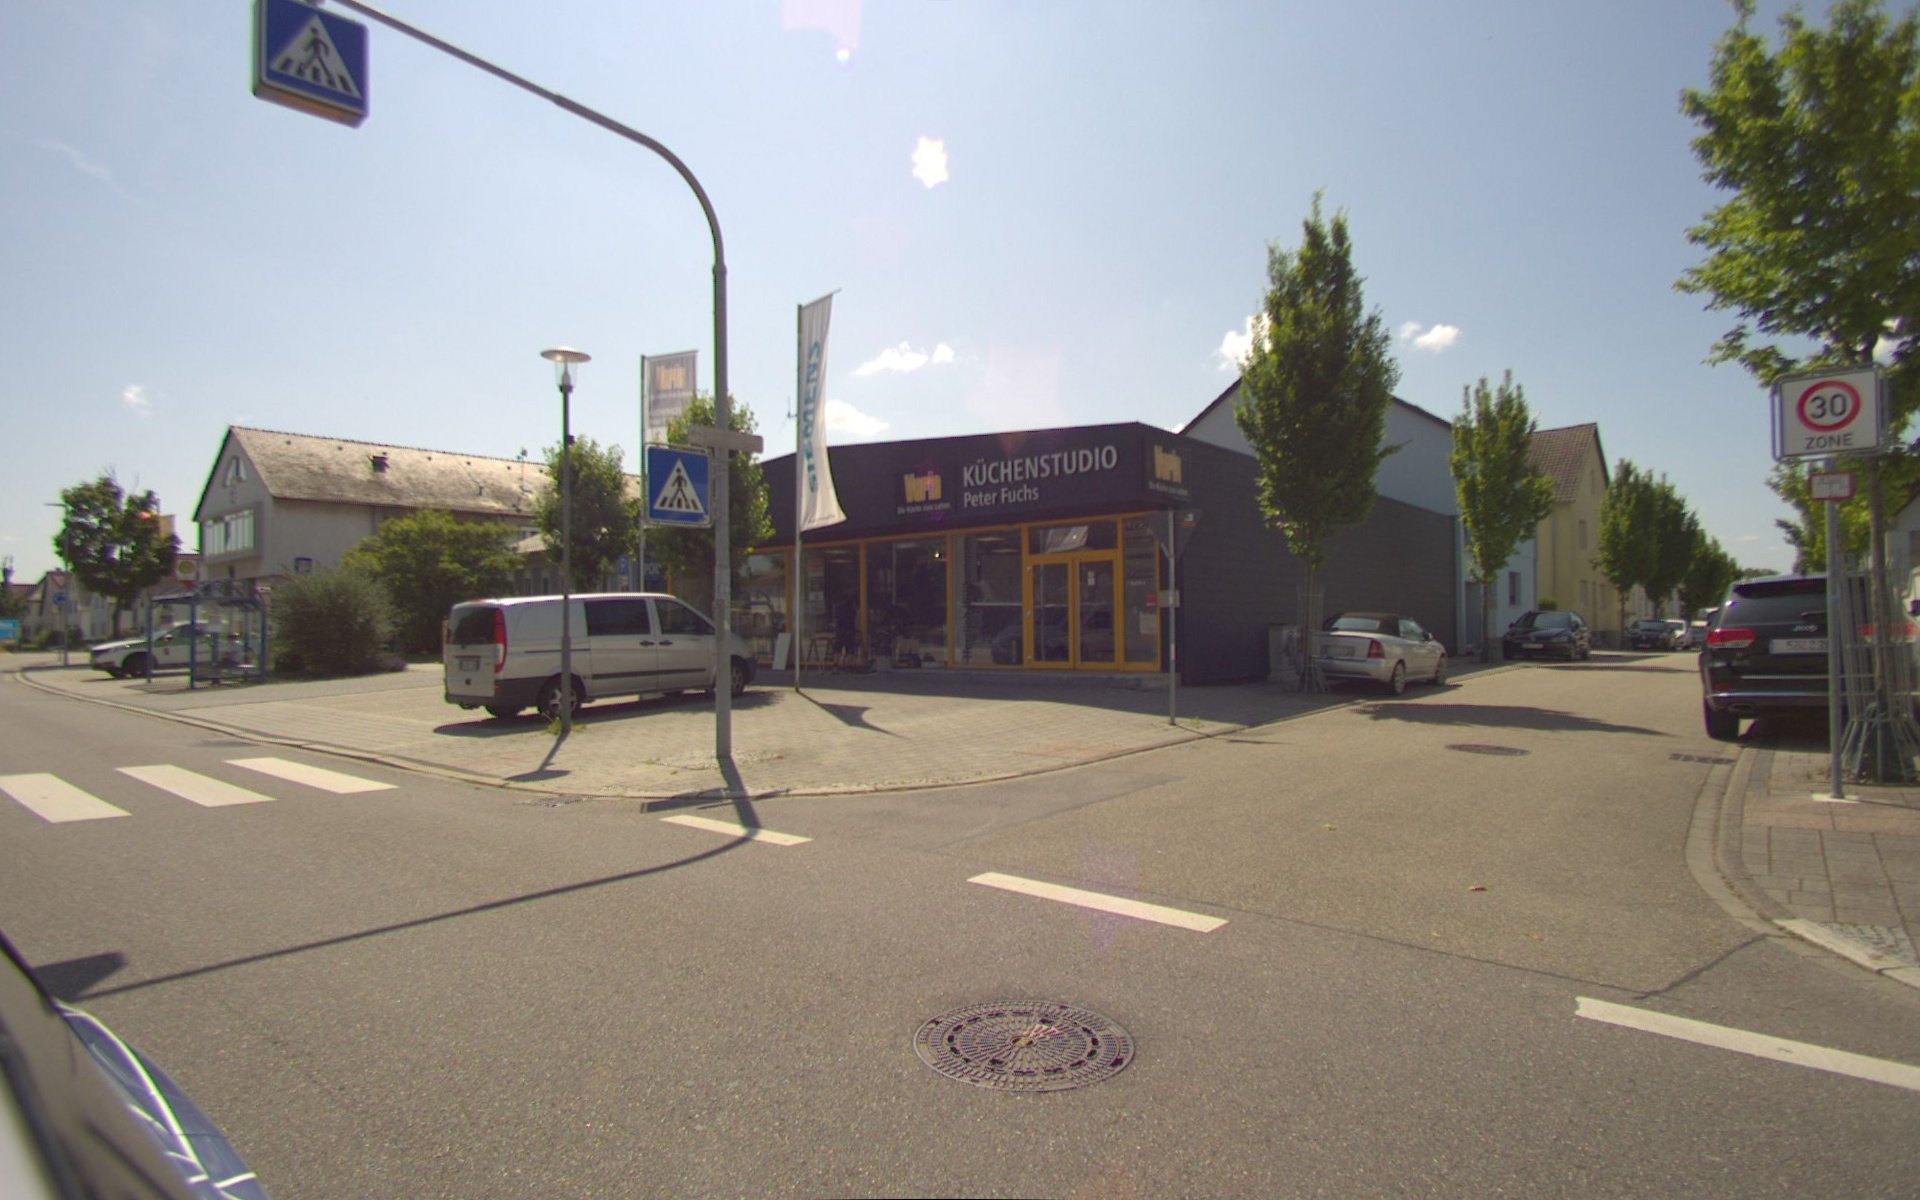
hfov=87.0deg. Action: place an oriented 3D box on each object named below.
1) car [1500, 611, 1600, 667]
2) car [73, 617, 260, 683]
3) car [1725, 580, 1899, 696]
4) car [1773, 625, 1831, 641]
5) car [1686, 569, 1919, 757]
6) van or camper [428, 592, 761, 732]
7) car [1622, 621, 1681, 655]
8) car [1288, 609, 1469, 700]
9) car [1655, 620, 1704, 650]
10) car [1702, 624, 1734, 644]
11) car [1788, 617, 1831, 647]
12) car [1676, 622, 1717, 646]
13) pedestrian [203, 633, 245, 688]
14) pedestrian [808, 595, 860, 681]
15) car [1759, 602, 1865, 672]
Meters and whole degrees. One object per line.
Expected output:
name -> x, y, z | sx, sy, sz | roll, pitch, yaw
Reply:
car -> 17.406, 1.108, 29.757 | 1.865, 1.473, 4.380 | 1, -1, 39
car -> -24.661, 1.498, 31.599 | 1.941, 1.732, 4.204 | -2, 0, 34
car -> 14.760, 0.628, 17.613 | 1.998, 1.753, 4.379 | -4, -3, 40
car -> 85.569, 3.360, 102.881 | 4.438, 1.524, 1.972 | -3, -2, 42
car -> 9.712, 0.622, 11.471 | 1.998, 1.729, 4.379 | -4, -3, 40
van or camper -> -5.738, 0.876, 16.414 | 1.998, 1.876, 4.694 | -3, -1, 39
car -> 31.740, 1.708, 46.422 | 1.865, 1.474, 4.380 | -2, -2, 39
car -> 7.840, 0.927, 18.738 | 1.866, 1.474, 4.379 | -2, -2, 40
car -> 38.866, 1.875, 54.652 | 1.865, 1.473, 4.380 | 1, -1, 39
car -> 60.423, 2.673, 80.651 | 1.865, 1.473, 4.380 | 1, -1, 39
car -> 54.524, 2.017, 64.968 | 1.998, 1.753, 4.379 | -4, -3, 40
car -> 47.682, 2.179, 65.485 | 1.865, 1.473, 4.380 | 1, -1, 39
pedestrian -> -19.044, 1.547, 26.186 | 0.607, 1.368, 0.777 | -2, -1, 40
pedestrian -> -2.688, 0.798, 21.620 | 0.922, 1.788, 1.069 | -1, -1, 3
car -> 23.240, 0.975, 27.665 | 1.998, 1.753, 4.379 | -4, -3, 40
